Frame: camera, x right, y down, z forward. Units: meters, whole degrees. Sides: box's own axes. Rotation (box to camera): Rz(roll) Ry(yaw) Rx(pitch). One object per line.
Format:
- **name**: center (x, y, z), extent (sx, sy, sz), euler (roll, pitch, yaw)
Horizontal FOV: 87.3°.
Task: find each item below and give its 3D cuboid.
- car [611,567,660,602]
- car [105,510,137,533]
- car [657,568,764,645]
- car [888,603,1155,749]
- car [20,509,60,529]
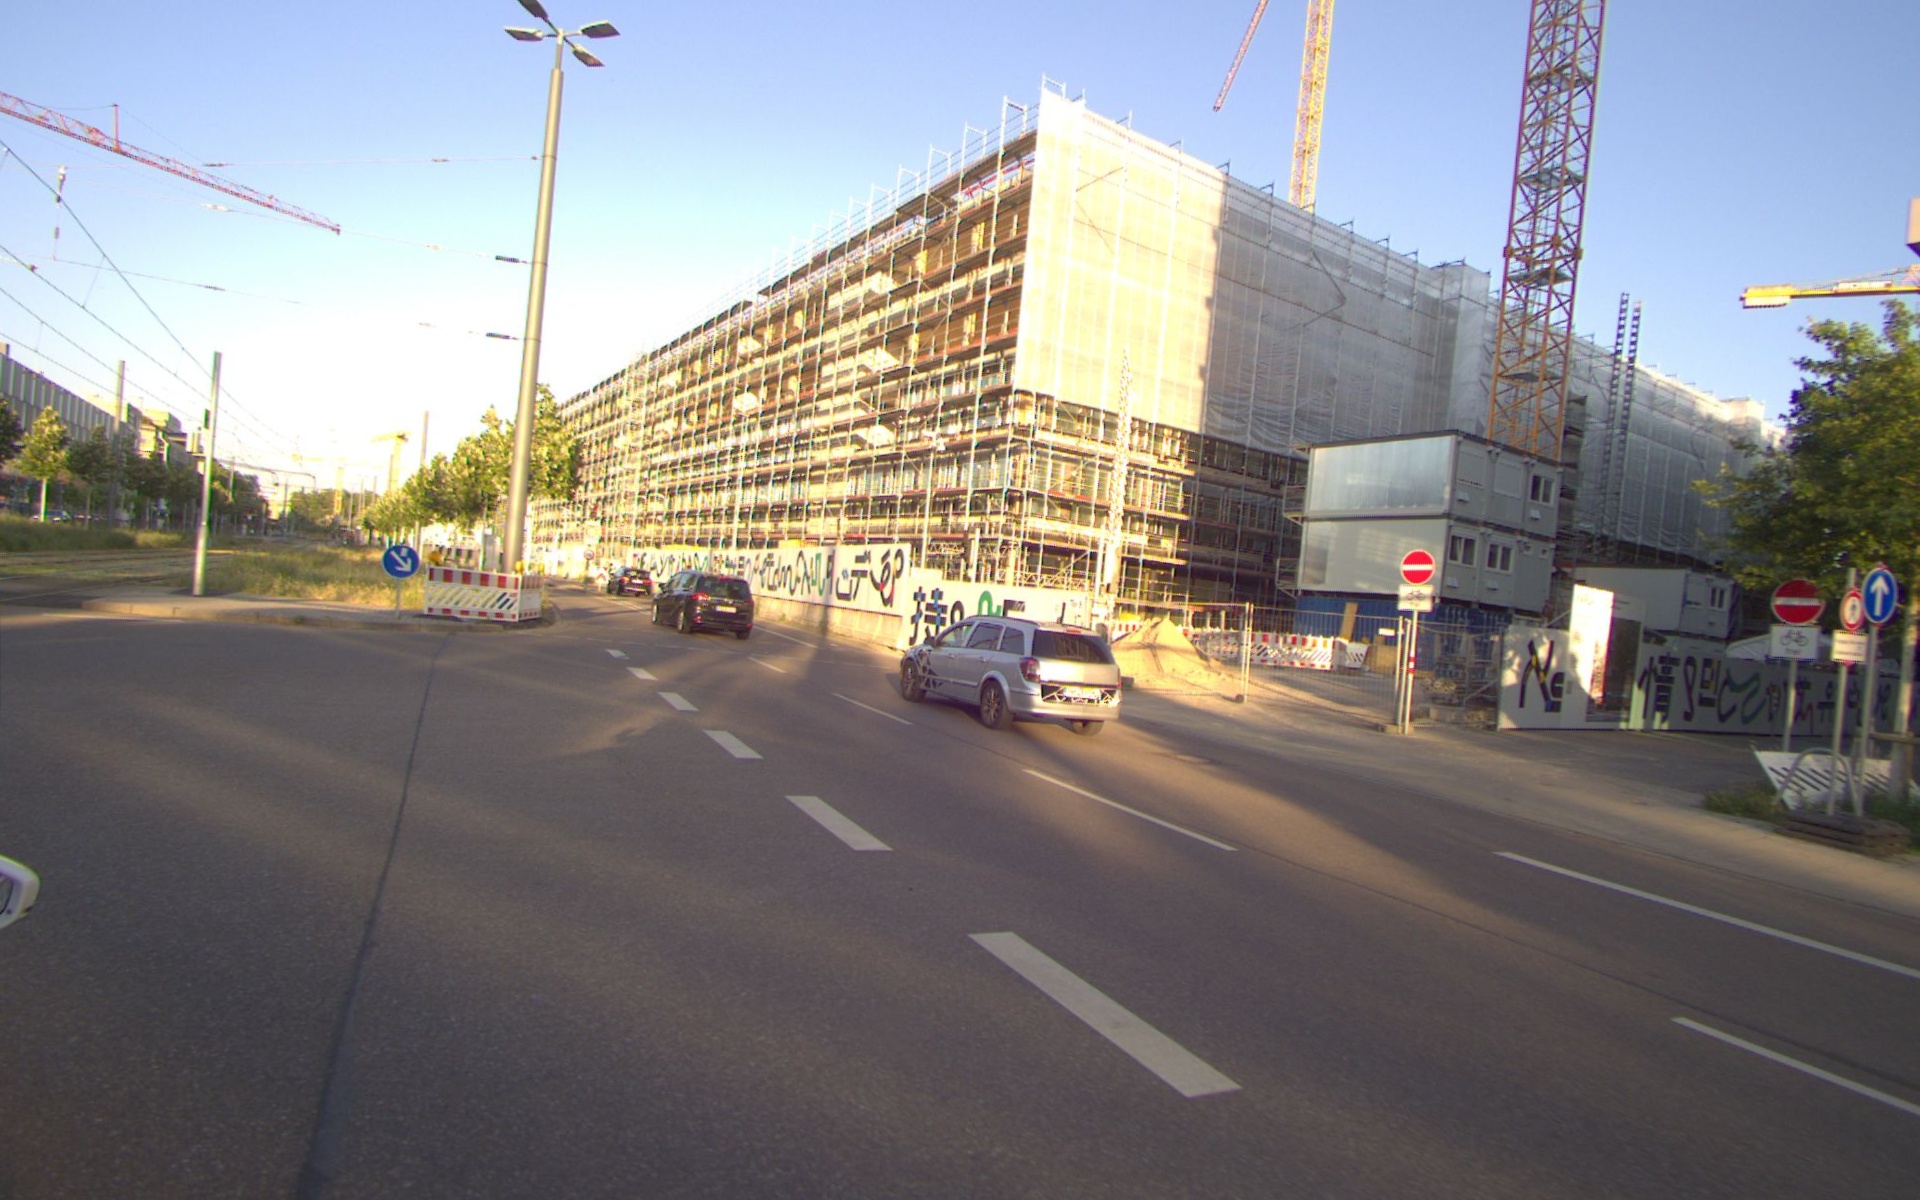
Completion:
- **car**: center (-17.850, -0.868, 55.206), extent (1.804, 1.537, 4.760), euler (7, 0, -26)
- **car**: center (-84.087, -7.821, 100.895), extent (1.646, 1.987, 4.231), euler (7, 0, -31)
- **car**: center (-6.741, 0.110, 26.808), extent (1.806, 1.618, 4.340), euler (7, 0, -25)
- **car**: center (0.700, 0.999, 14.636), extent (1.813, 1.481, 4.273), euler (8, -1, -27)
- **car**: center (-78.532, -6.892, 85.925), extent (1.646, 1.448, 3.862), euler (8, -1, -31)
